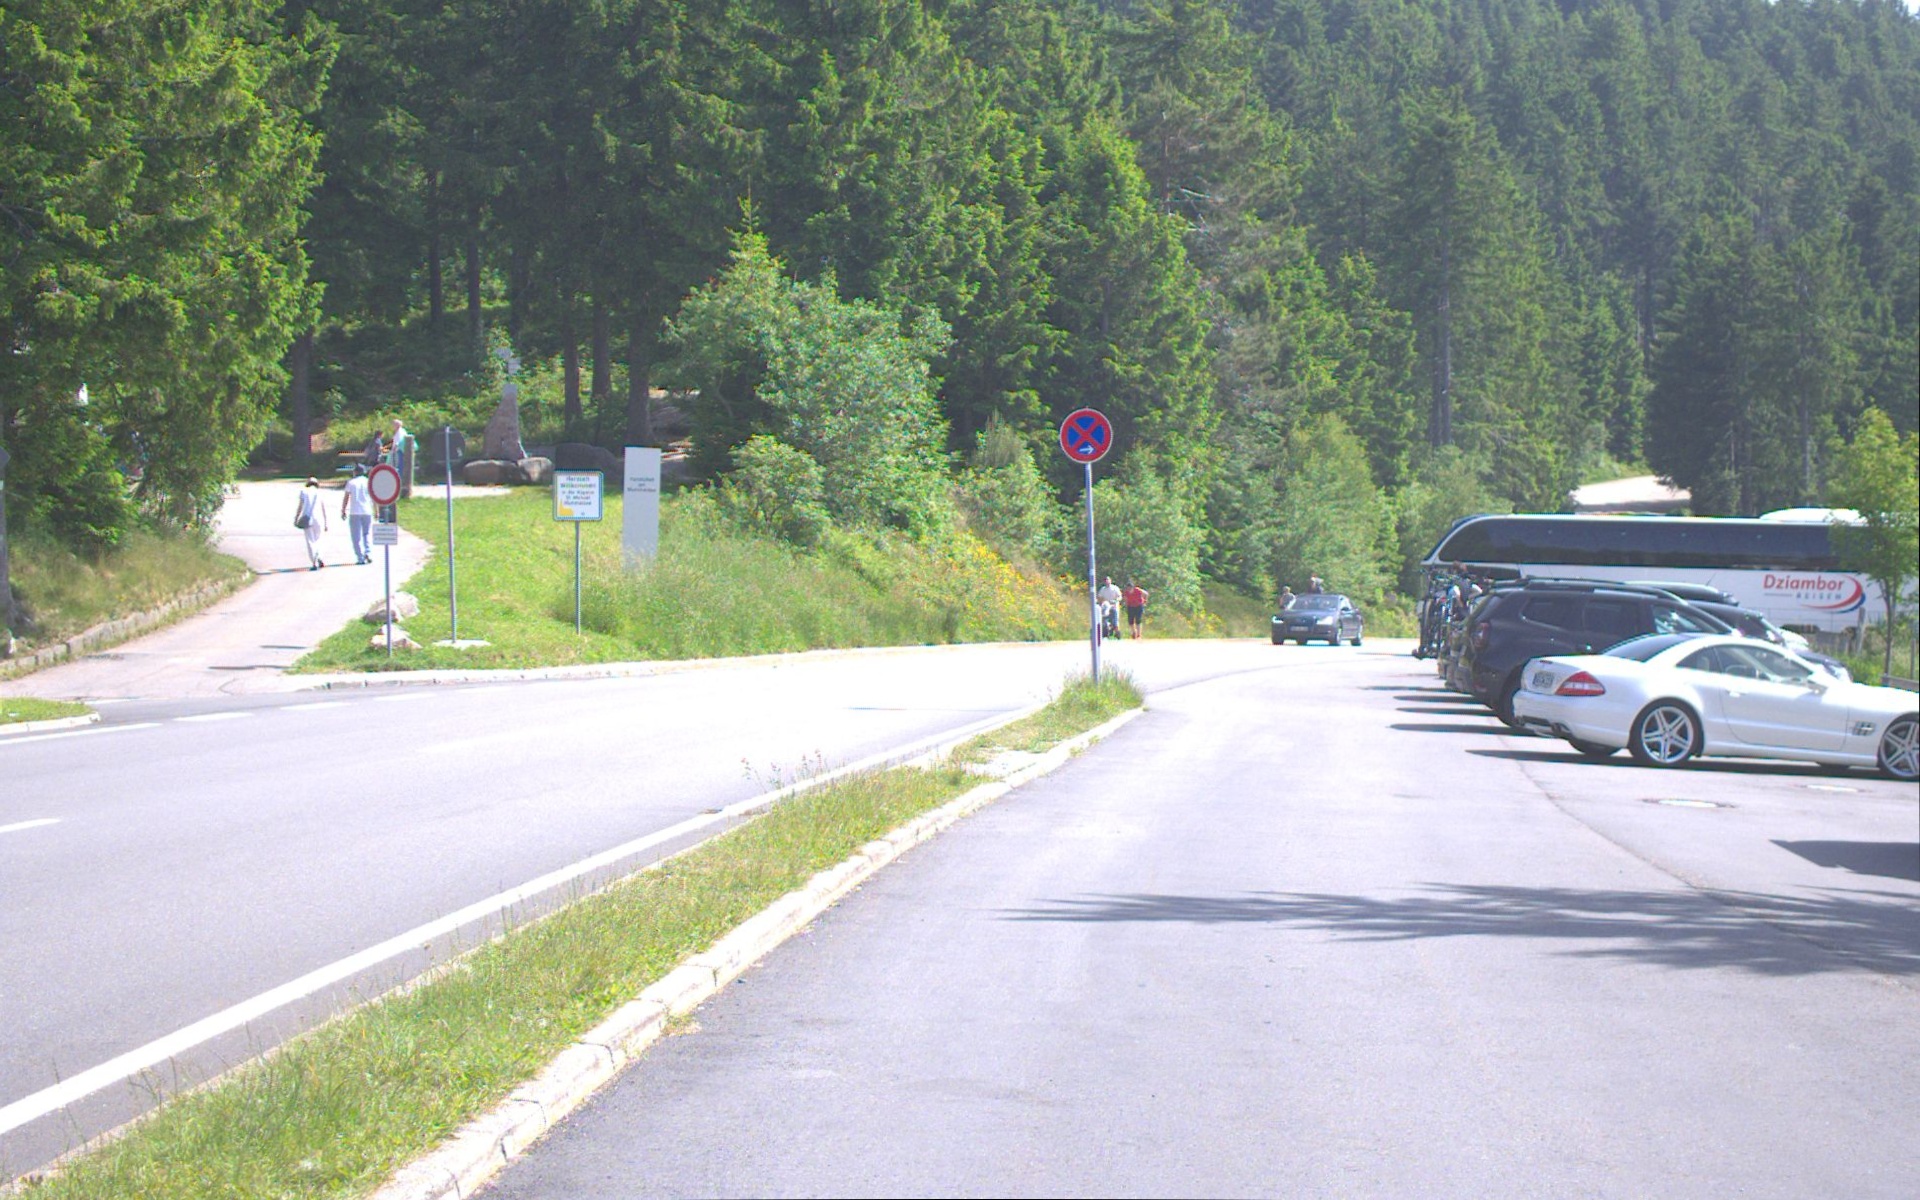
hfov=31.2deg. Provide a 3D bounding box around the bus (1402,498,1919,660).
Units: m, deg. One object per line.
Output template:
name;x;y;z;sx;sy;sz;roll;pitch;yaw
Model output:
bus;17.051;-0.575;80.791;12.874;3.566;2.979;1;3;22

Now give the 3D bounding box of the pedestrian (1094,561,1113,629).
pedestrian;3.716;-0.131;89.101;0.415;1.741;0.457;-2;2;5

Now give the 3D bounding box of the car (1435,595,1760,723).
car;7.622;0.695;41.353;3.636;1.299;1.641;2;2;4

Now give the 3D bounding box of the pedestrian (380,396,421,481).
pedestrian;-13.392;-3.861;82.262;0.815;2.006;0.854;-2;2;-4

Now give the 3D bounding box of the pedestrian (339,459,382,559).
pedestrian;-10.908;-1.656;62.534;0.652;1.793;0.643;-1;0;-2

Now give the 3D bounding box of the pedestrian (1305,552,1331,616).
pedestrian;11.390;-0.493;109.447;0.733;2.007;0.862;-2;-1;5

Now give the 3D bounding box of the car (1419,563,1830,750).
car;7.268;0.599;37.910;3.986;1.693;2.000;4;2;-3

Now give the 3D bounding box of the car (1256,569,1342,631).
car;9.636;-0.013;97.544;1.994;1.656;3.998;0;1;12

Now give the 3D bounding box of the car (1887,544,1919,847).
car;7.106;0.695;20.881;1.905;1.966;4.818;4;1;5

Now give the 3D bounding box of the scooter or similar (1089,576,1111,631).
scooter or similar;3.602;0.077;88.491;0.483;1.375;0.817;-2;2;4

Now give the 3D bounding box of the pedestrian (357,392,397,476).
pedestrian;-14.122;-4.013;83.305;0.797;2.006;0.940;-2;2;-4

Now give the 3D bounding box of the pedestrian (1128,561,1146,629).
pedestrian;4.565;-0.135;88.515;0.395;1.741;0.406;-2;2;5

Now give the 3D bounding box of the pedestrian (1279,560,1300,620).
pedestrian;10.617;-0.318;110.738;0.622;1.893;0.655;-2;-1;5

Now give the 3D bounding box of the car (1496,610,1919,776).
car;7.633;0.918;33.330;4.452;1.294;1.583;4;1;-11

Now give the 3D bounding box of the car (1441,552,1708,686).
car;9.758;0.281;54.887;3.988;1.808;1.939;4;3;7

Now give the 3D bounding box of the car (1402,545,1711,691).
car;8.252;0.228;47.870;3.988;1.713;1.867;4;3;5
